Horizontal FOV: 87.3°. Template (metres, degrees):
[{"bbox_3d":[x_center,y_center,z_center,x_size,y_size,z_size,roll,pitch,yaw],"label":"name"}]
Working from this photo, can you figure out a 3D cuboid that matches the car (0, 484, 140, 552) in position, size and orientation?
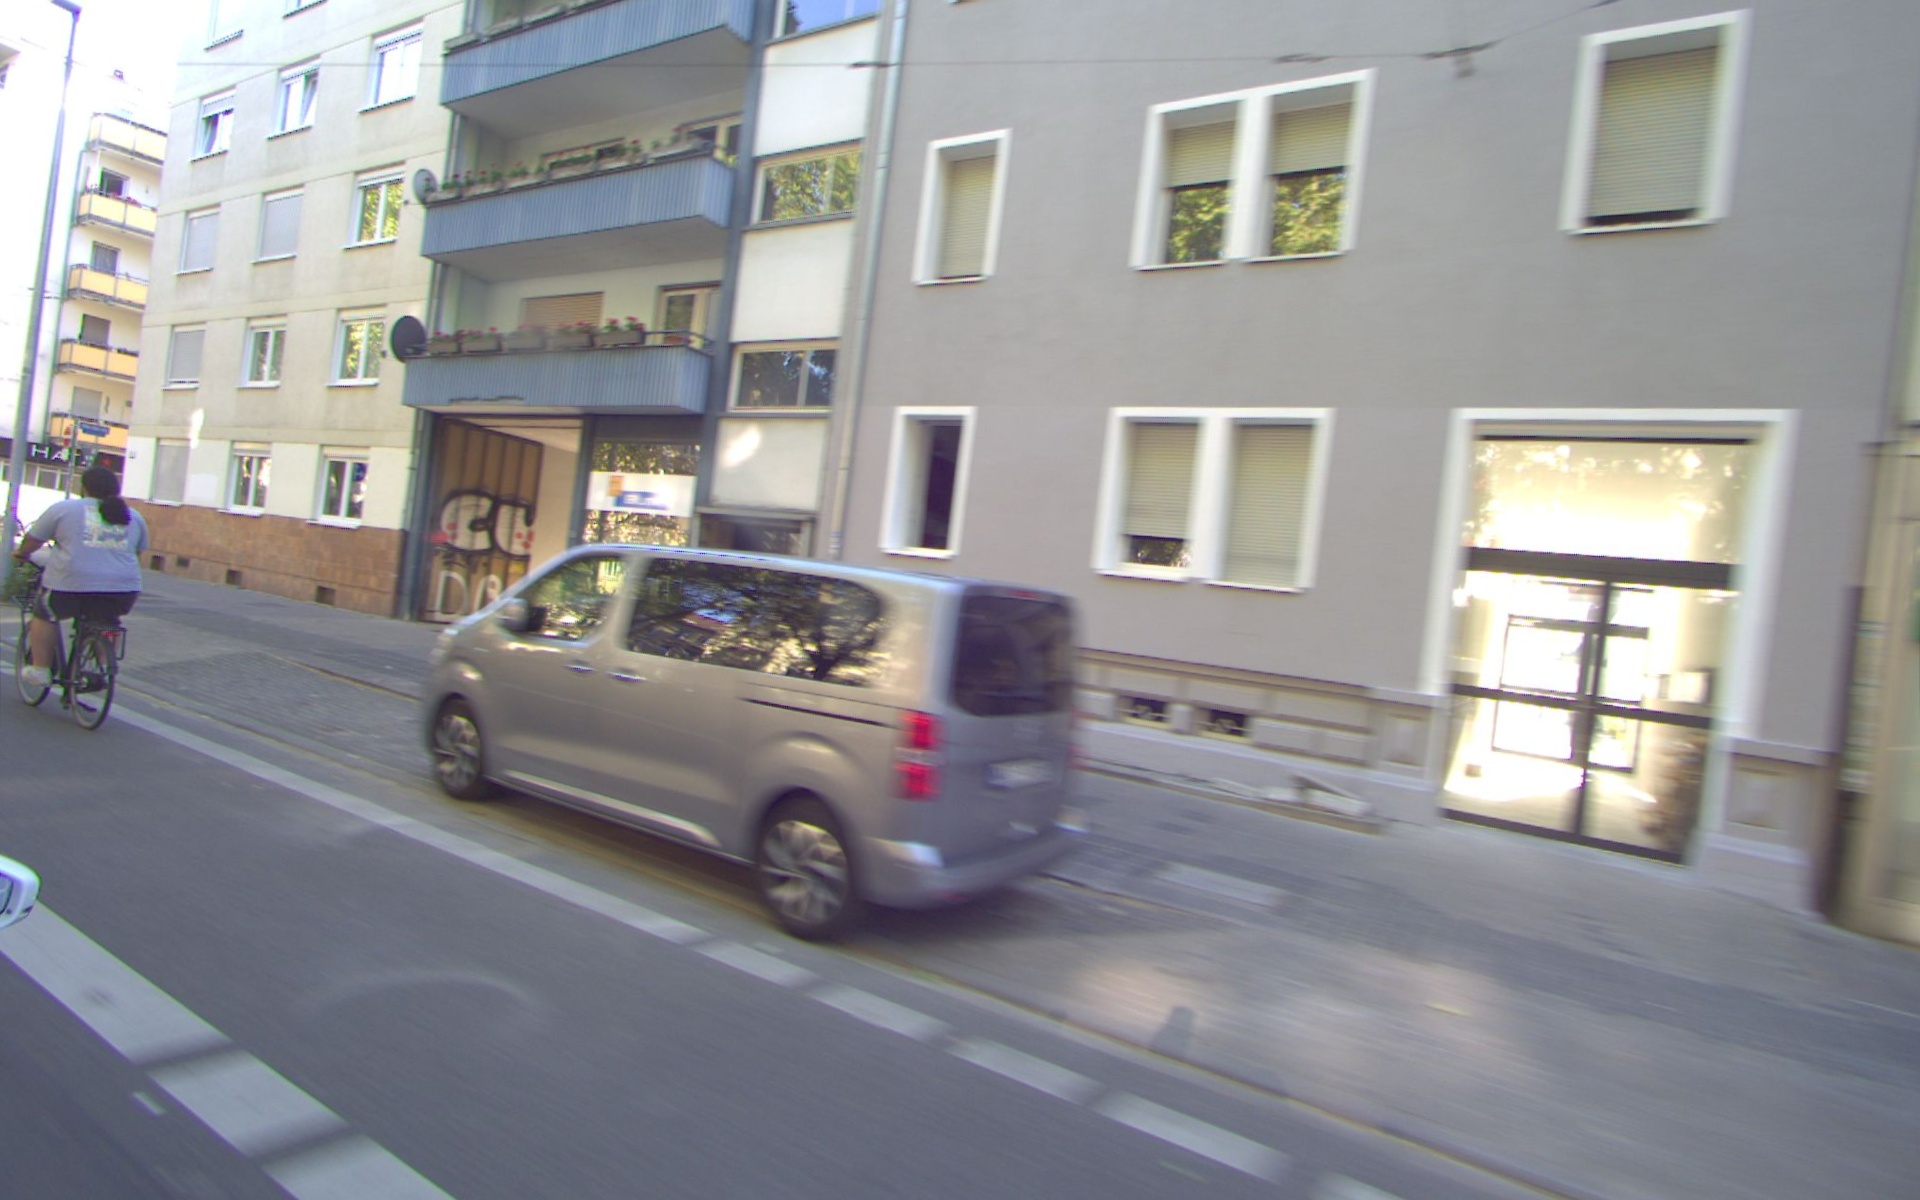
[{"bbox_3d":[-33.352,-3.034,37.051,1.965,1.852,4.369,7,-1,28],"label":"car"}]

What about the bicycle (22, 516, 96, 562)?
[{"bbox_3d":[-25.181,-1.714,28.109,1.934,1.028,0.804,7,0,26],"label":"bicycle"}]

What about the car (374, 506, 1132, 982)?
[{"bbox_3d":[-1.582,0.577,6.588,4.845,1.914,1.859,7,1,34],"label":"car"}]

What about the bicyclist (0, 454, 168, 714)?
[{"bbox_3d":[-6.651,-0.110,7.464,0.899,1.780,0.788,7,0,31],"label":"bicyclist"}]

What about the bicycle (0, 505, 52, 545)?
[{"bbox_3d":[-31.827,-2.551,33.768,0.692,1.130,1.837,7,-1,34],"label":"bicycle"}]

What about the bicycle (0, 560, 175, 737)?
[{"bbox_3d":[-6.875,0.330,7.620,1.957,1.104,0.703,6,-3,31],"label":"bicycle"}]

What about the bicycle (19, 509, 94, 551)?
[{"bbox_3d":[-30.443,-2.361,33.900,0.605,1.130,1.768,7,-1,44],"label":"bicycle"}]
